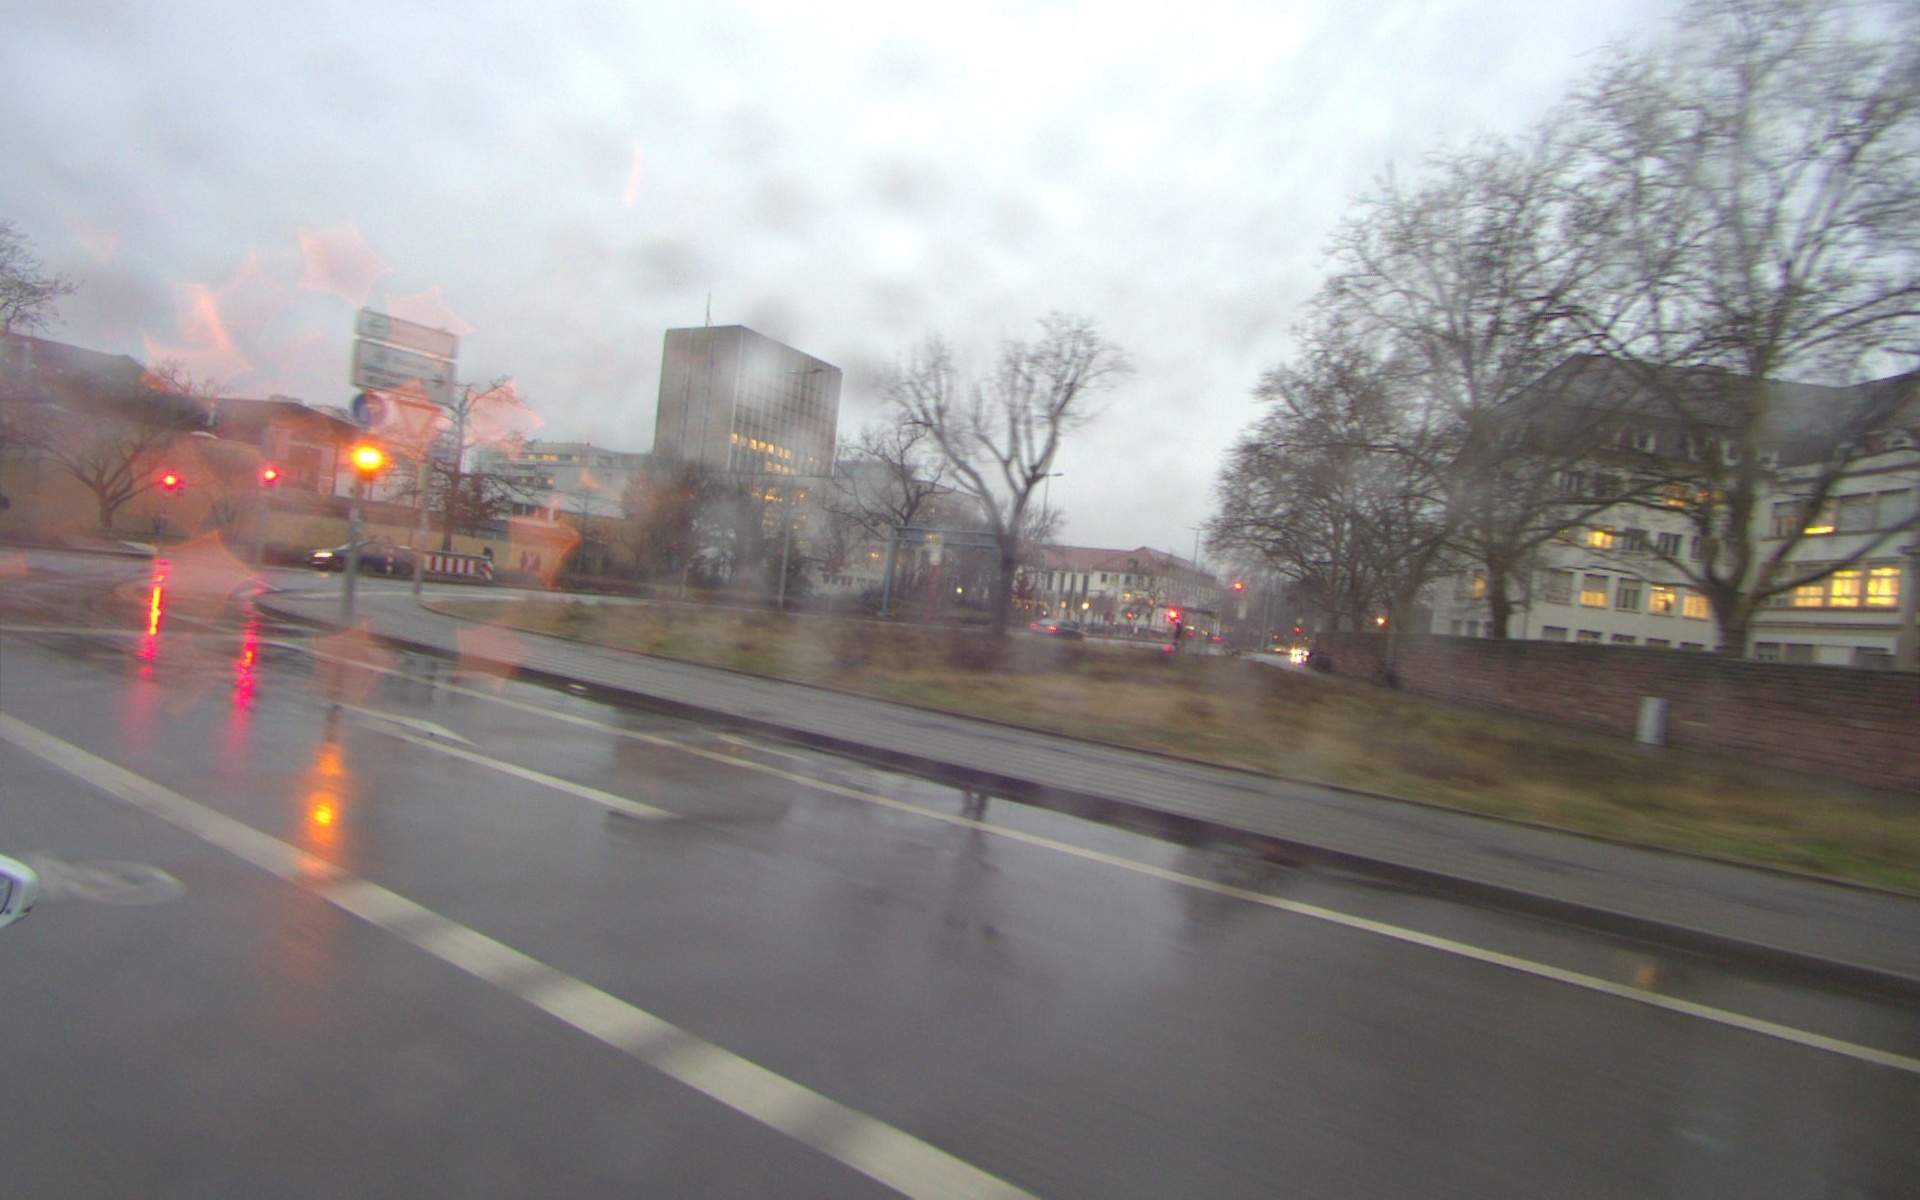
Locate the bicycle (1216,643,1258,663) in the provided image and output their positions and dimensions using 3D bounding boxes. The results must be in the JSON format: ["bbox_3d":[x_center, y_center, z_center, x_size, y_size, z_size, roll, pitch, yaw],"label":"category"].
[{"bbox_3d":[16.776,3.202,60.966,2.373,1.003,0.479,5,-2,31],"label":"bicycle"}]

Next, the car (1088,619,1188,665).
[{"bbox_3d":[5.198,1.225,29.358,2.656,0.989,1.290,7,1,-34],"label":"car"}]

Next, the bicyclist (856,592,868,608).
[{"bbox_3d":[-8.084,-0.012,82.989,0.599,1.261,0.698,5,-2,40],"label":"bicyclist"}]

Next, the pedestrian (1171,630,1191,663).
[{"bbox_3d":[13.179,2.772,60.077,0.823,1.857,0.667,5,-2,34],"label":"pedestrian"}]

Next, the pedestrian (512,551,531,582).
[{"bbox_3d":[-25.810,-1.975,59.234,0.749,1.745,0.623,5,-2,38],"label":"pedestrian"}]

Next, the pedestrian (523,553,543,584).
[{"bbox_3d":[-24.871,-1.836,58.552,0.749,1.745,0.623,5,-2,38],"label":"pedestrian"}]

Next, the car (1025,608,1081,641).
[{"bbox_3d":[5.906,1.580,63.767,1.861,1.670,3.636,5,-3,35],"label":"car"}]

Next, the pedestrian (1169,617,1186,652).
[{"bbox_3d":[11.916,1.897,55.154,0.633,1.857,0.836,5,-1,23],"label":"pedestrian"}]

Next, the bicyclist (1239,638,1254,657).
[{"bbox_3d":[17.453,2.887,61.222,0.690,1.092,0.494,5,-2,32],"label":"bicyclist"}]

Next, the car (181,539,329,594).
[{"bbox_3d":[-27.920,-1.300,39.924,1.943,1.598,4.424,4,-3,44],"label":"car"}]

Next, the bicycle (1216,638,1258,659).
[{"bbox_3d":[16.927,2.968,61.533,2.373,1.003,0.537,5,-2,31],"label":"bicycle"}]

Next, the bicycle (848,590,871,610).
[{"bbox_3d":[-8.247,0.014,82.782,0.584,1.439,1.922,5,-2,40],"label":"bicycle"}]

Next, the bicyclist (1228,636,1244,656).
[{"bbox_3d":[16.743,2.790,61.033,0.690,1.092,0.494,5,-2,32],"label":"bicyclist"}]
